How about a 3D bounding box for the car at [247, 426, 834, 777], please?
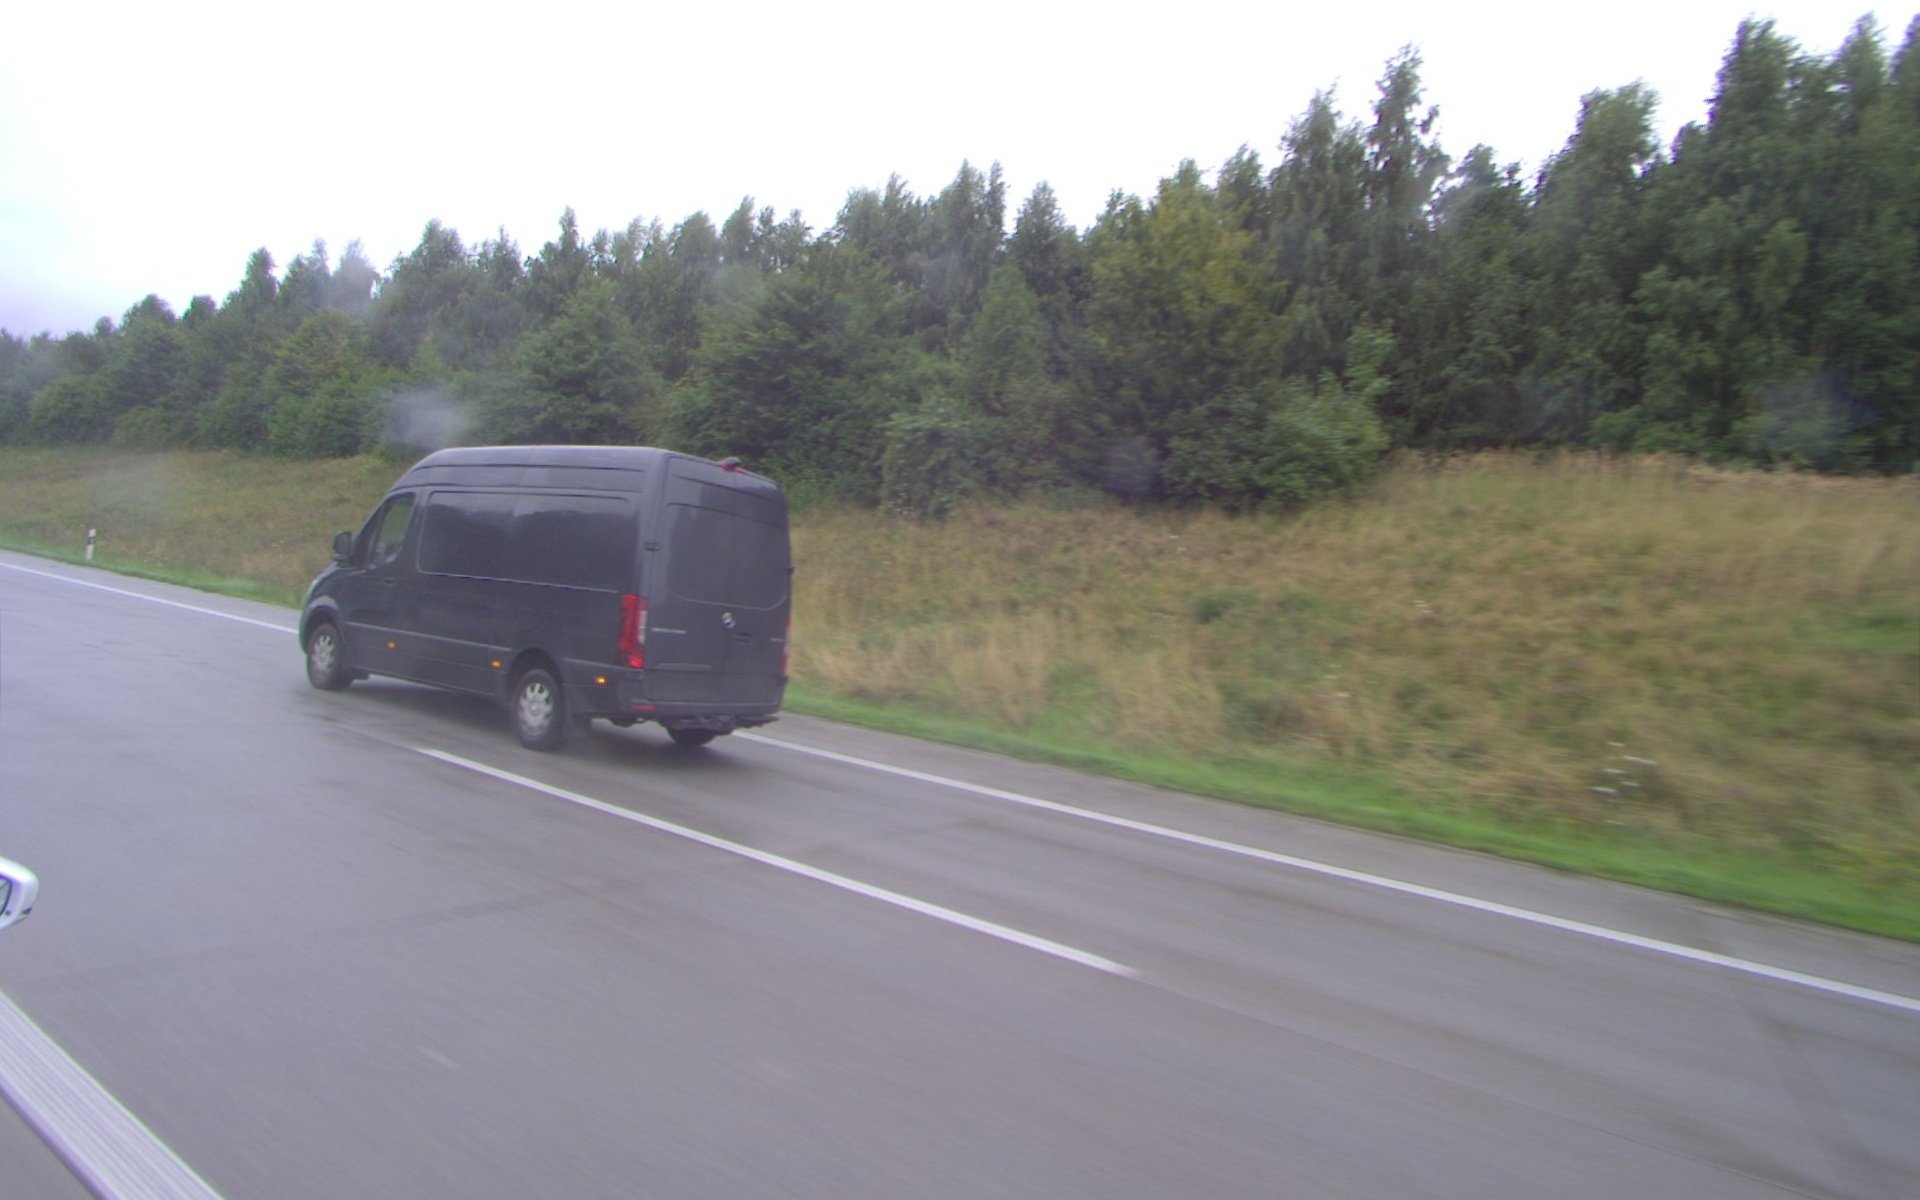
[{"bbox_3d":[-4.555,-0.196,10.280,6.478,2.690,1.944,7,-1,33],"label":"car"}]
